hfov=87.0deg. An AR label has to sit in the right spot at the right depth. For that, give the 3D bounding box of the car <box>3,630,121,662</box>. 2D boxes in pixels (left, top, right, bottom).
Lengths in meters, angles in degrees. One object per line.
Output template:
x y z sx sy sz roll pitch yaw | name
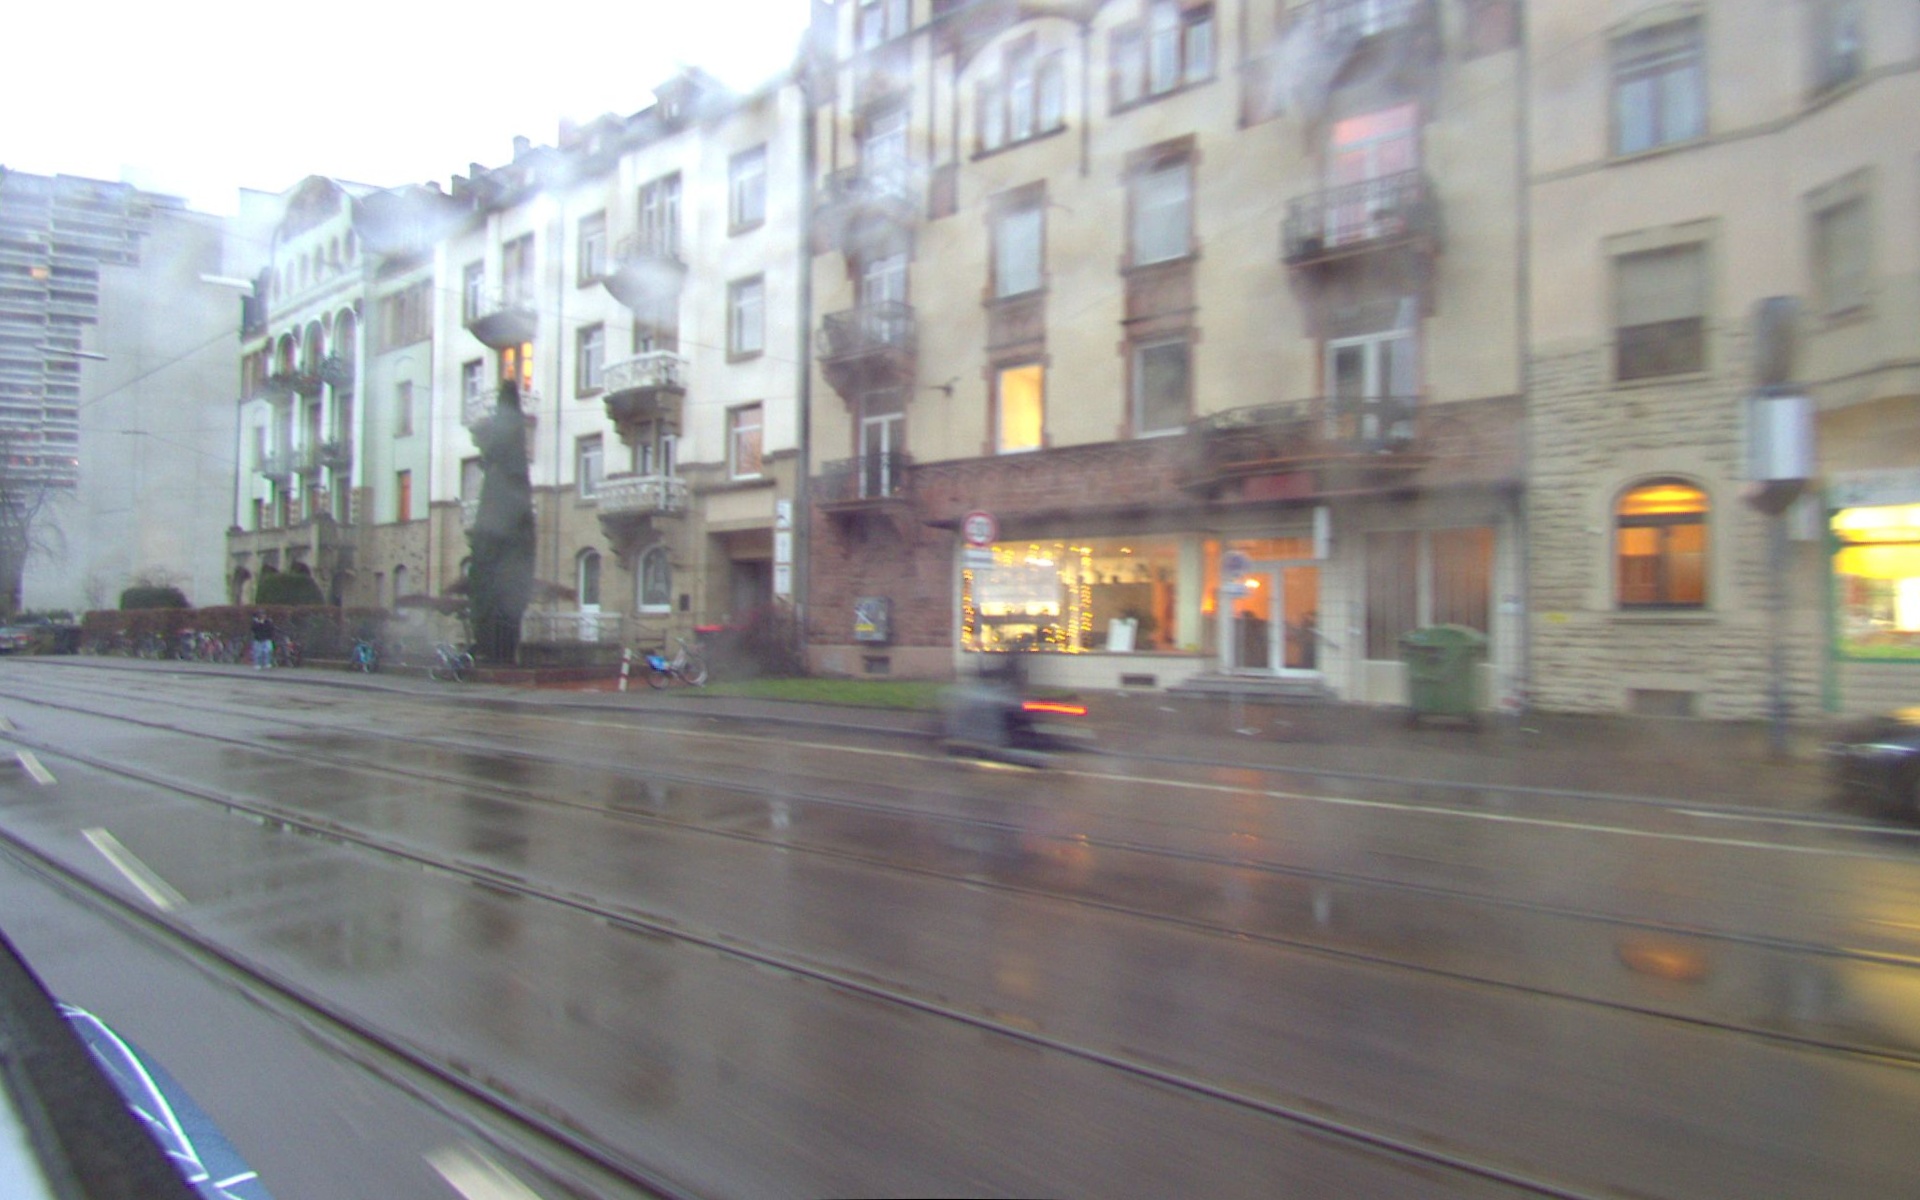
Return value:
-41.244 2.083 46.549 1.724 1.424 3.795 -1 -2 37 | car

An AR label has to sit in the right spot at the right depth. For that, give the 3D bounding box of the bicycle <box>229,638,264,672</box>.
-23.089 1.768 32.739 1.710 1.014 0.430 -1 1 38 | bicycle

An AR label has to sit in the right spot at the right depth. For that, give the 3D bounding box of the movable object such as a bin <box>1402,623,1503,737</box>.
6.854 1.068 14.067 1.071 1.442 1.226 -1 1 35 | movable object such as a bin

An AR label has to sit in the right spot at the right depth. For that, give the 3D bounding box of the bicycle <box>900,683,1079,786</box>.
0.293 1.328 10.250 1.706 0.896 0.642 -1 -3 29 | bicycle

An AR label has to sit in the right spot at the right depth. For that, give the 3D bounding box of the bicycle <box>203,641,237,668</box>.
-24.644 1.797 33.688 1.765 0.838 0.437 -1 1 38 | bicycle

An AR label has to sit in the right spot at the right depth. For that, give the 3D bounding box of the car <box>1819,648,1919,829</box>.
10.050 1.166 8.182 4.495 1.400 1.788 -1 1 33 | car

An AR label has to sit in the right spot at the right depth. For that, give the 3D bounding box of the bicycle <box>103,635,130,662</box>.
-33.855 1.938 40.629 1.878 1.014 0.430 -1 1 38 | bicycle

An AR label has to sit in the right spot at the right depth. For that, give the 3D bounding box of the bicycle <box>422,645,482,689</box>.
-12.319 1.607 24.516 2.084 0.947 0.524 -1 1 41 | bicycle

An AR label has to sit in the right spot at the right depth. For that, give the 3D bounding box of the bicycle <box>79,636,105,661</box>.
-36.238 2.011 42.246 1.878 1.014 0.464 -1 1 38 | bicycle

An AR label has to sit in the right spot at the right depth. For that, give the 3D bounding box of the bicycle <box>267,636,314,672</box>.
-20.377 1.628 30.776 2.206 1.014 0.518 -1 1 38 | bicycle

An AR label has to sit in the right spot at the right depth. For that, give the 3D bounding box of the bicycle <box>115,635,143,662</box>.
-32.286 1.874 39.293 1.878 1.014 0.430 -1 1 38 | bicycle

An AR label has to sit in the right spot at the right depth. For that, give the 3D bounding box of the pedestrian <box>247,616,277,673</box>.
-20.575 1.307 29.851 0.447 1.654 0.567 -1 1 33 | pedestrian

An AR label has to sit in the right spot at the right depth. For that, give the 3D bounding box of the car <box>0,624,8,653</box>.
-59.015 2.345 59.781 1.724 1.730 3.795 -2 0 37 | car

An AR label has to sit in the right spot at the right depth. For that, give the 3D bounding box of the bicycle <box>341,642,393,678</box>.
-16.104 1.607 27.464 2.208 0.896 0.524 -1 1 41 | bicycle

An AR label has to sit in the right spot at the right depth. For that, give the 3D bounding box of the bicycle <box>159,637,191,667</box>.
-27.953 1.845 36.034 1.878 1.014 0.430 -1 1 38 | bicycle

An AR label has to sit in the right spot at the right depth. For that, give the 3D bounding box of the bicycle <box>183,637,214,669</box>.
-26.101 1.808 34.661 1.603 1.014 0.430 -1 1 38 | bicycle

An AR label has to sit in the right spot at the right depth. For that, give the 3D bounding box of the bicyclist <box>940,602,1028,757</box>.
0.250 0.790 10.307 0.655 1.512 0.651 -1 -4 29 | bicyclist

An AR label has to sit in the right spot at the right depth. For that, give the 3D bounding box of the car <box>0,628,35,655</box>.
-53.899 2.332 55.945 1.724 1.424 3.795 -1 1 37 | car

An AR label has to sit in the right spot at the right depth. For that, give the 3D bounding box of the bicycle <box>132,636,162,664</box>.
-30.647 1.868 38.136 1.878 1.014 0.430 -1 1 38 | bicycle

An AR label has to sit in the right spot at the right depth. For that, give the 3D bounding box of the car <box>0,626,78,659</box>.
-45.848 2.091 49.523 1.724 1.424 3.795 -1 1 37 | car

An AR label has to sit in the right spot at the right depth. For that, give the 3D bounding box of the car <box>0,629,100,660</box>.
-43.491 2.108 47.998 1.724 1.424 3.795 -2 -3 37 | car

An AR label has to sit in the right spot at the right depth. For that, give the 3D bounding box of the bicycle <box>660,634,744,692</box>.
-5.883 1.413 23.171 0.530 1.167 1.967 -1 1 35 | bicycle

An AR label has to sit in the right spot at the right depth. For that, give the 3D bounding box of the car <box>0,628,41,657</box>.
-50.659 2.252 52.784 1.724 1.424 3.795 -2 0 37 | car
